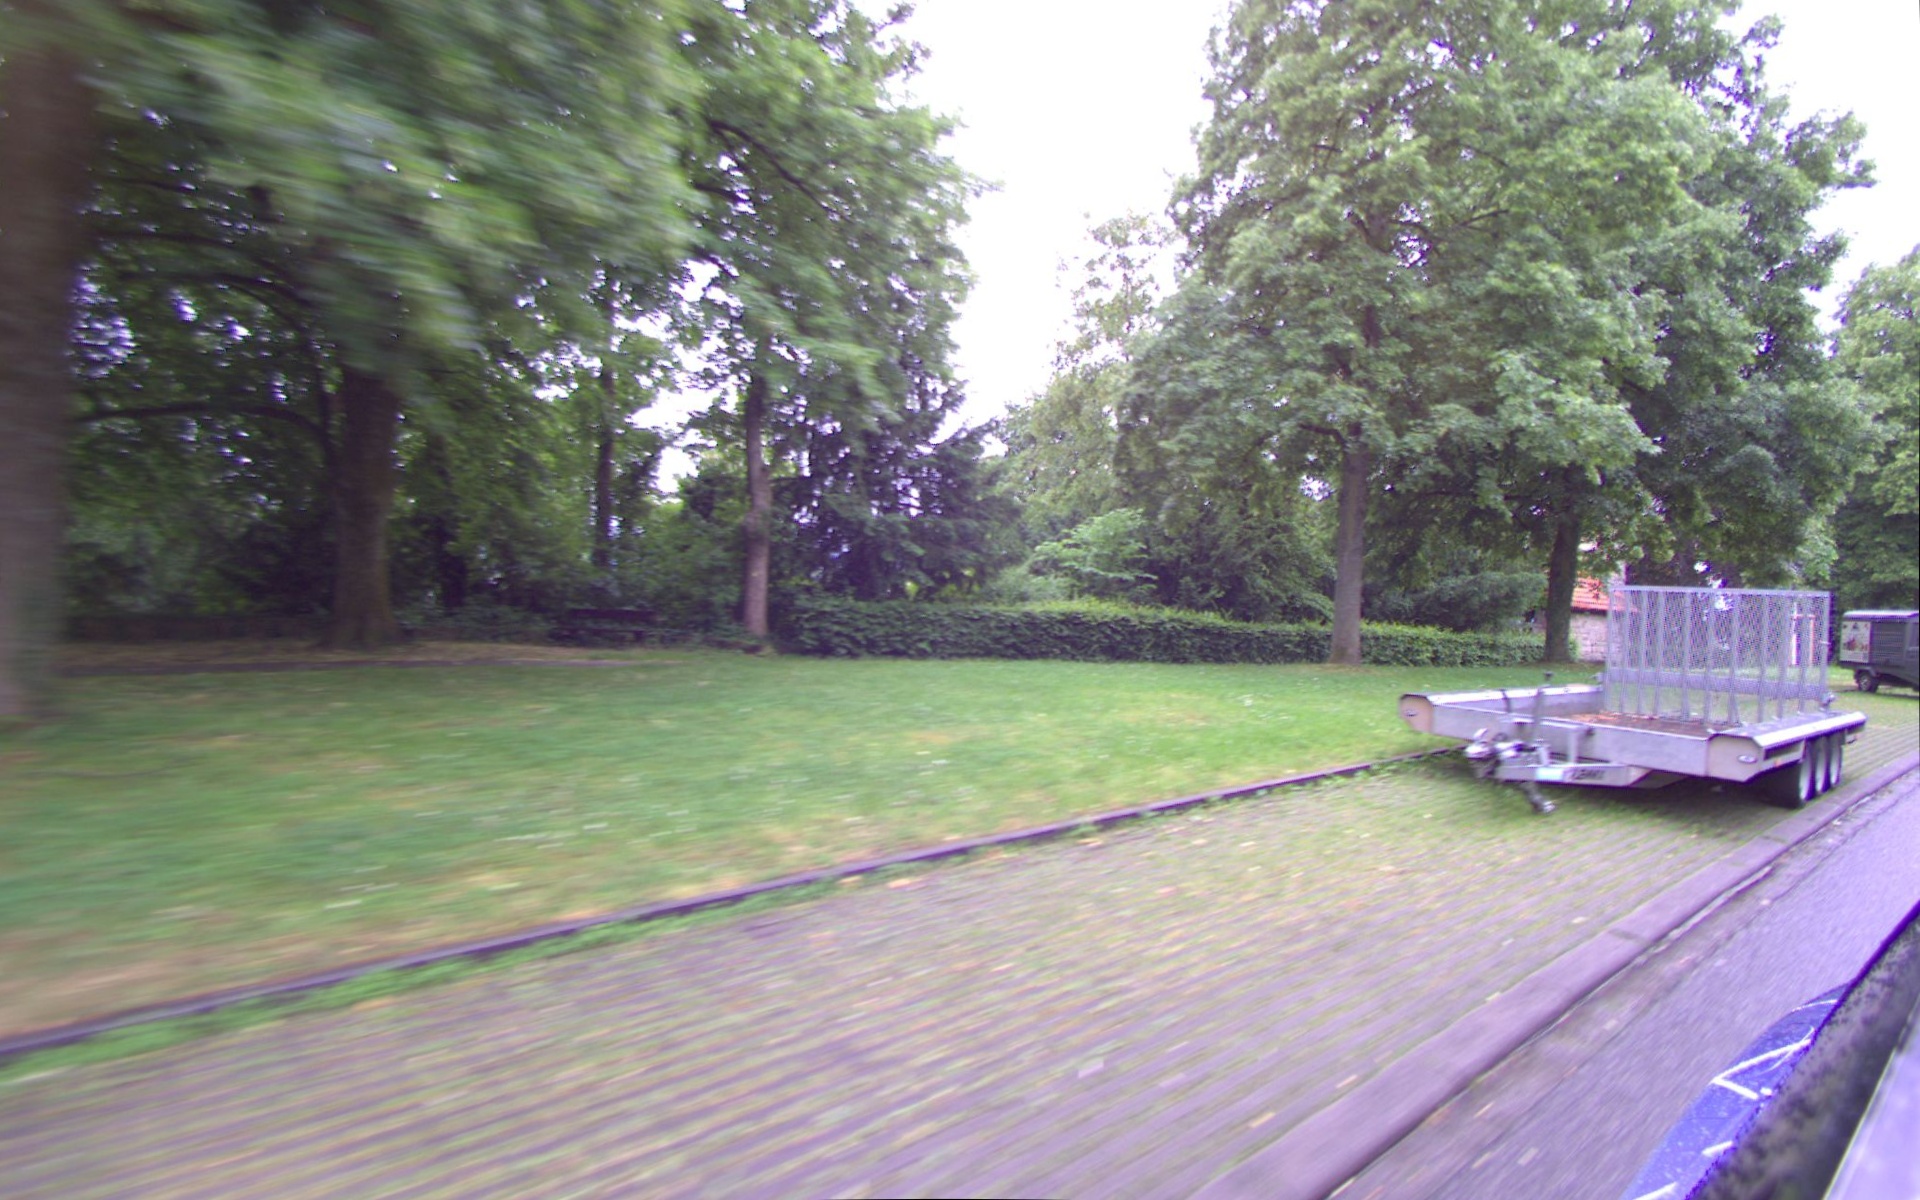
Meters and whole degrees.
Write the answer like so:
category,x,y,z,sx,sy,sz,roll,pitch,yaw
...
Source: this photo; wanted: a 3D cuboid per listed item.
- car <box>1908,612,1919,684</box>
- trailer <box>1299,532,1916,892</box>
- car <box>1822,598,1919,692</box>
category,x,y,z,sx,sy,sz,roll,pitch,yaw
car,22.718,1.153,22.089,4.478,1.516,2.001,3,0,-34
trailer,5.365,0.524,7.956,5.787,1.835,2.455,0,2,-40
car,18.812,0.885,19.487,1.587,1.701,3.993,3,2,12
